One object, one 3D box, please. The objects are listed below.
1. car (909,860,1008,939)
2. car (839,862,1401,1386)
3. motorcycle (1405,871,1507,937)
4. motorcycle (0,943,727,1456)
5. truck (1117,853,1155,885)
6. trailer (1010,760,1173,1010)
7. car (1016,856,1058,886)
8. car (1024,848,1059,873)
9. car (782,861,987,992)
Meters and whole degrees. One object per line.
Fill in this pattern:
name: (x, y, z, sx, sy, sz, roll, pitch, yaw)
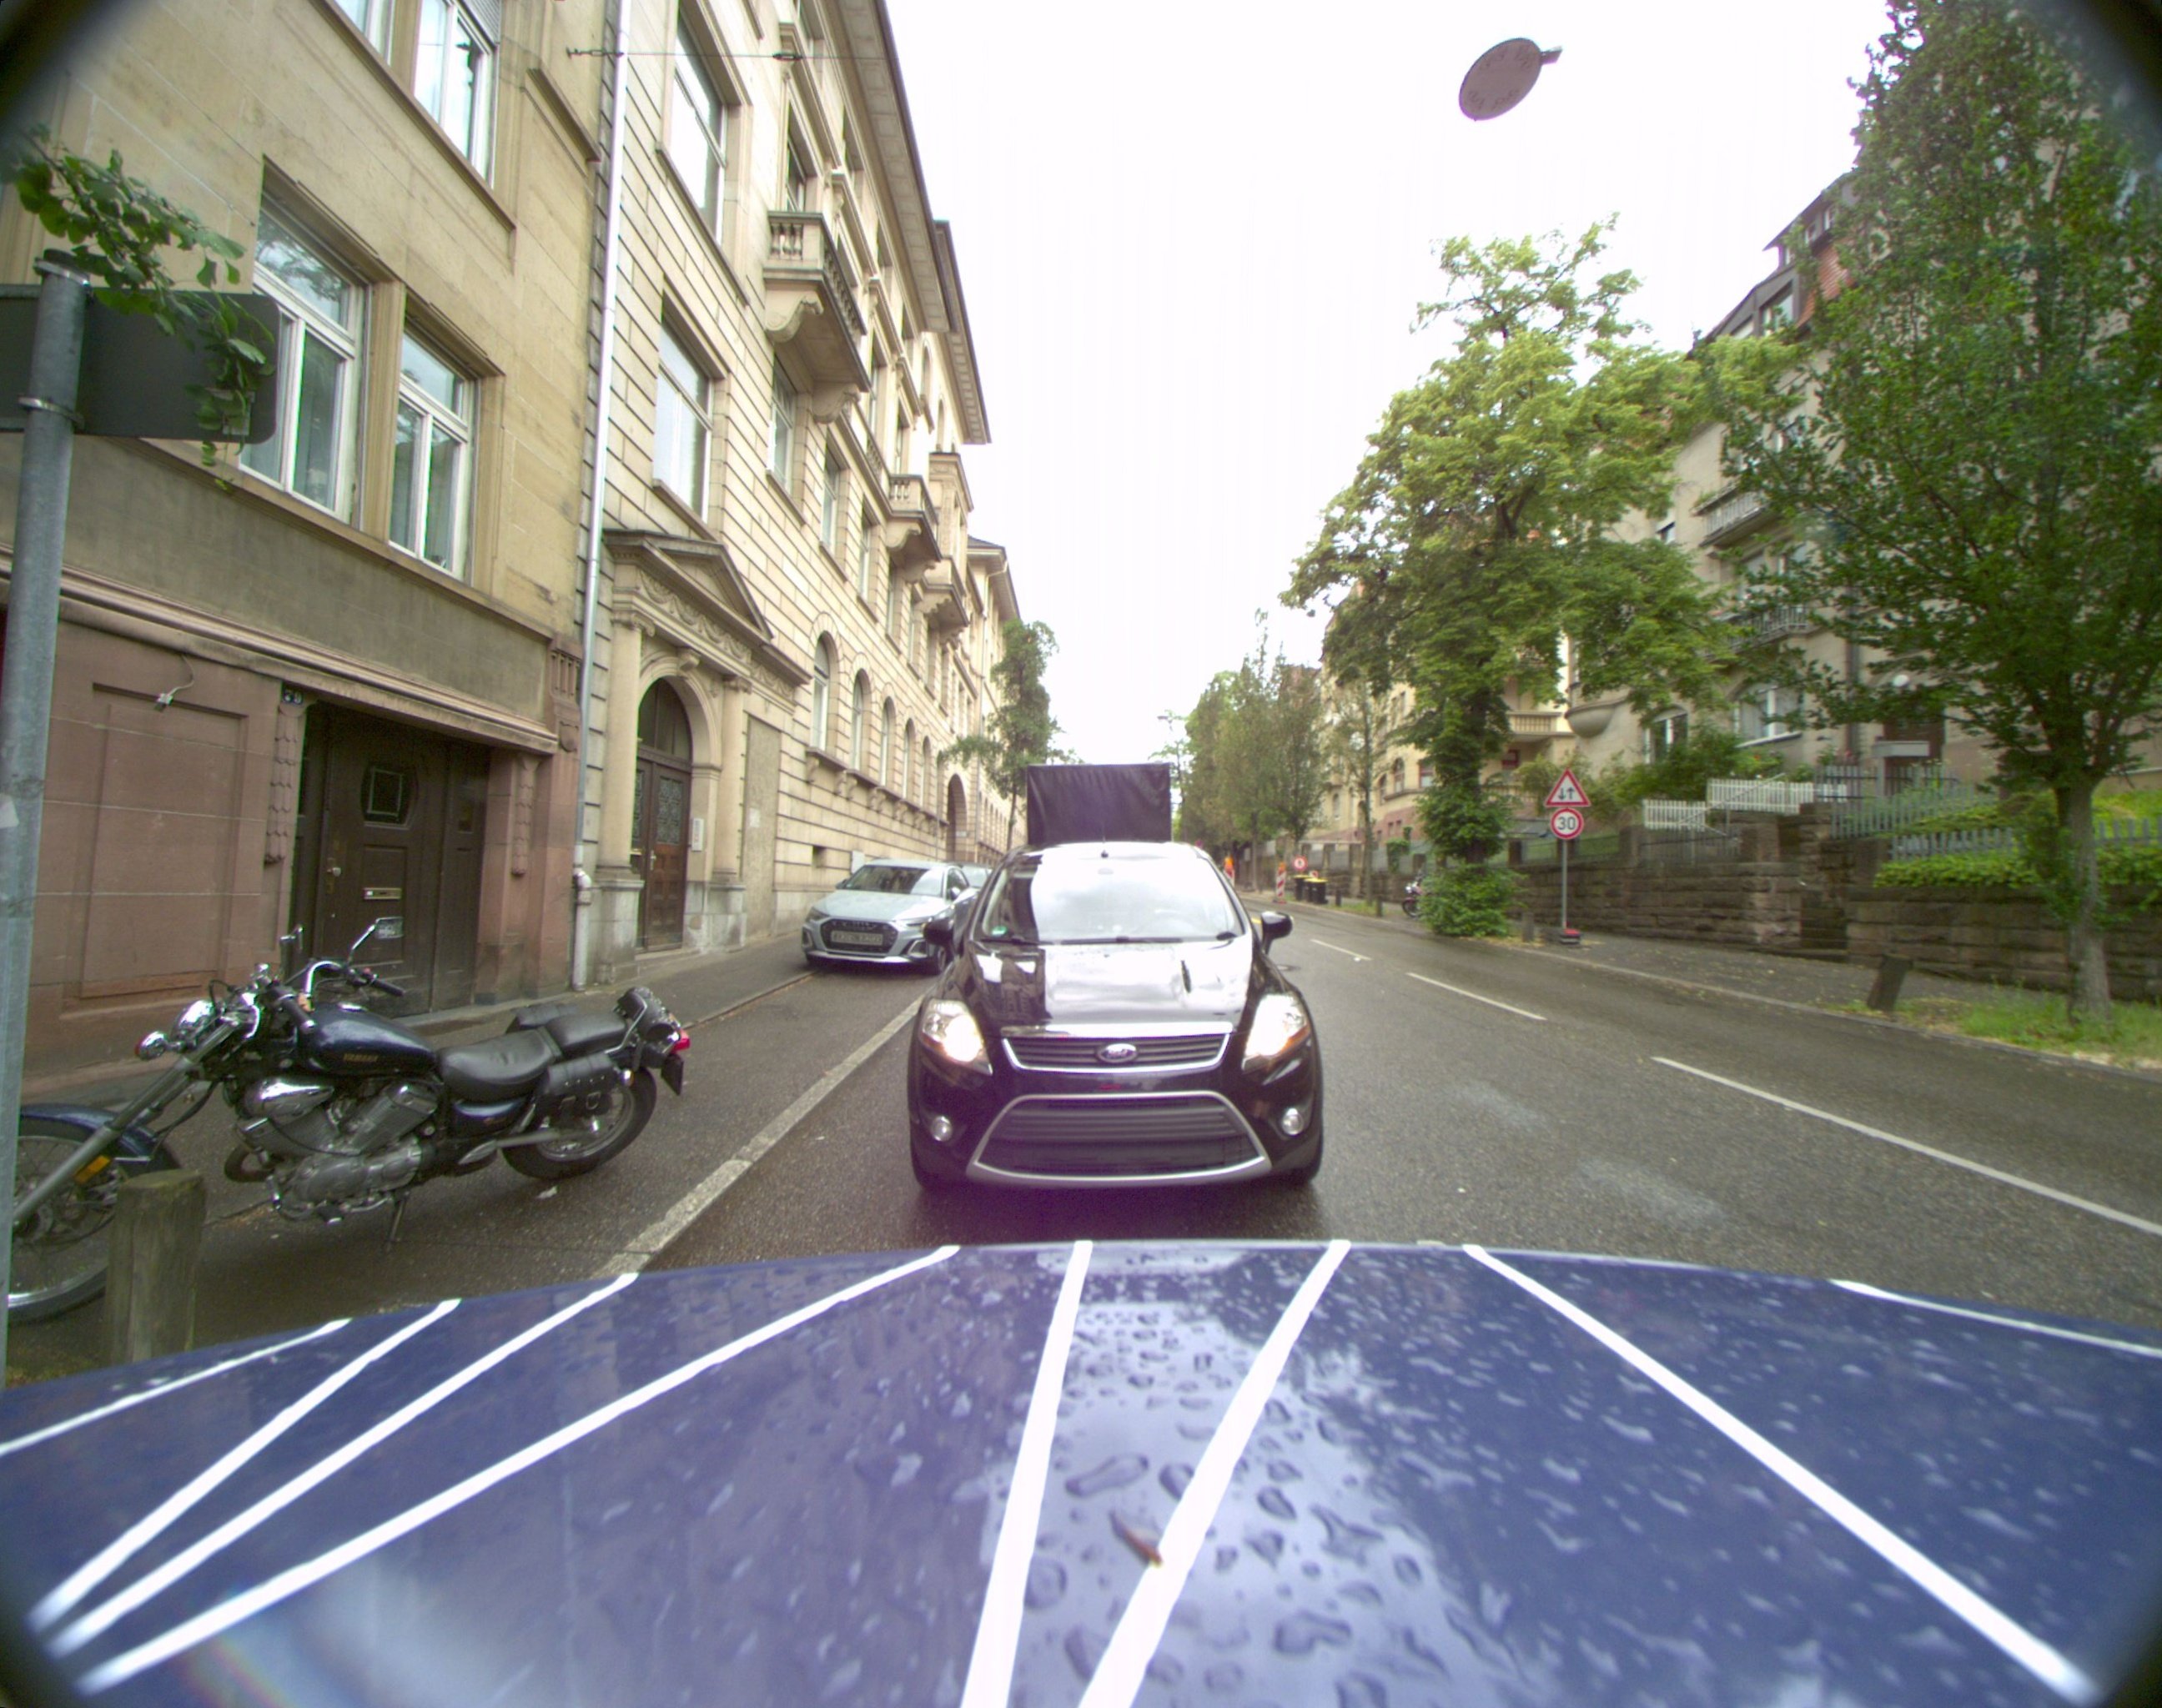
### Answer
car: (-2.555, 0.908, 16.502, 1.495, 1.440, 3.181, 3, 0, 1)
car: (0.180, 0.902, 4.733, 1.823, 1.662, 4.522, 0, 0, 1)
motorcycle: (8.889, 1.129, 18.195, 0.802, 1.406, 3.061, -2, 0, -2)
motorcycle: (-2.574, 1.008, 2.742, 0.523, 1.236, 2.282, 3, -1, 39)
truck: (3.428, 0.913, 48.347, 2.075, 1.825, 5.154, 2, 0, 1)
trailer: (0.121, 0.327, 10.795, 1.783, 2.744, 4.816, 0, 1, 0)
car: (-2.404, 0.912, 42.457, 1.910, 1.502, 4.318, 3, 0, 1)
car: (-2.554, 0.423, 50.426, 1.910, 1.502, 4.318, 3, 0, 1)
car: (-2.605, 0.887, 11.127, 1.794, 1.444, 4.039, 3, 0, 1)
